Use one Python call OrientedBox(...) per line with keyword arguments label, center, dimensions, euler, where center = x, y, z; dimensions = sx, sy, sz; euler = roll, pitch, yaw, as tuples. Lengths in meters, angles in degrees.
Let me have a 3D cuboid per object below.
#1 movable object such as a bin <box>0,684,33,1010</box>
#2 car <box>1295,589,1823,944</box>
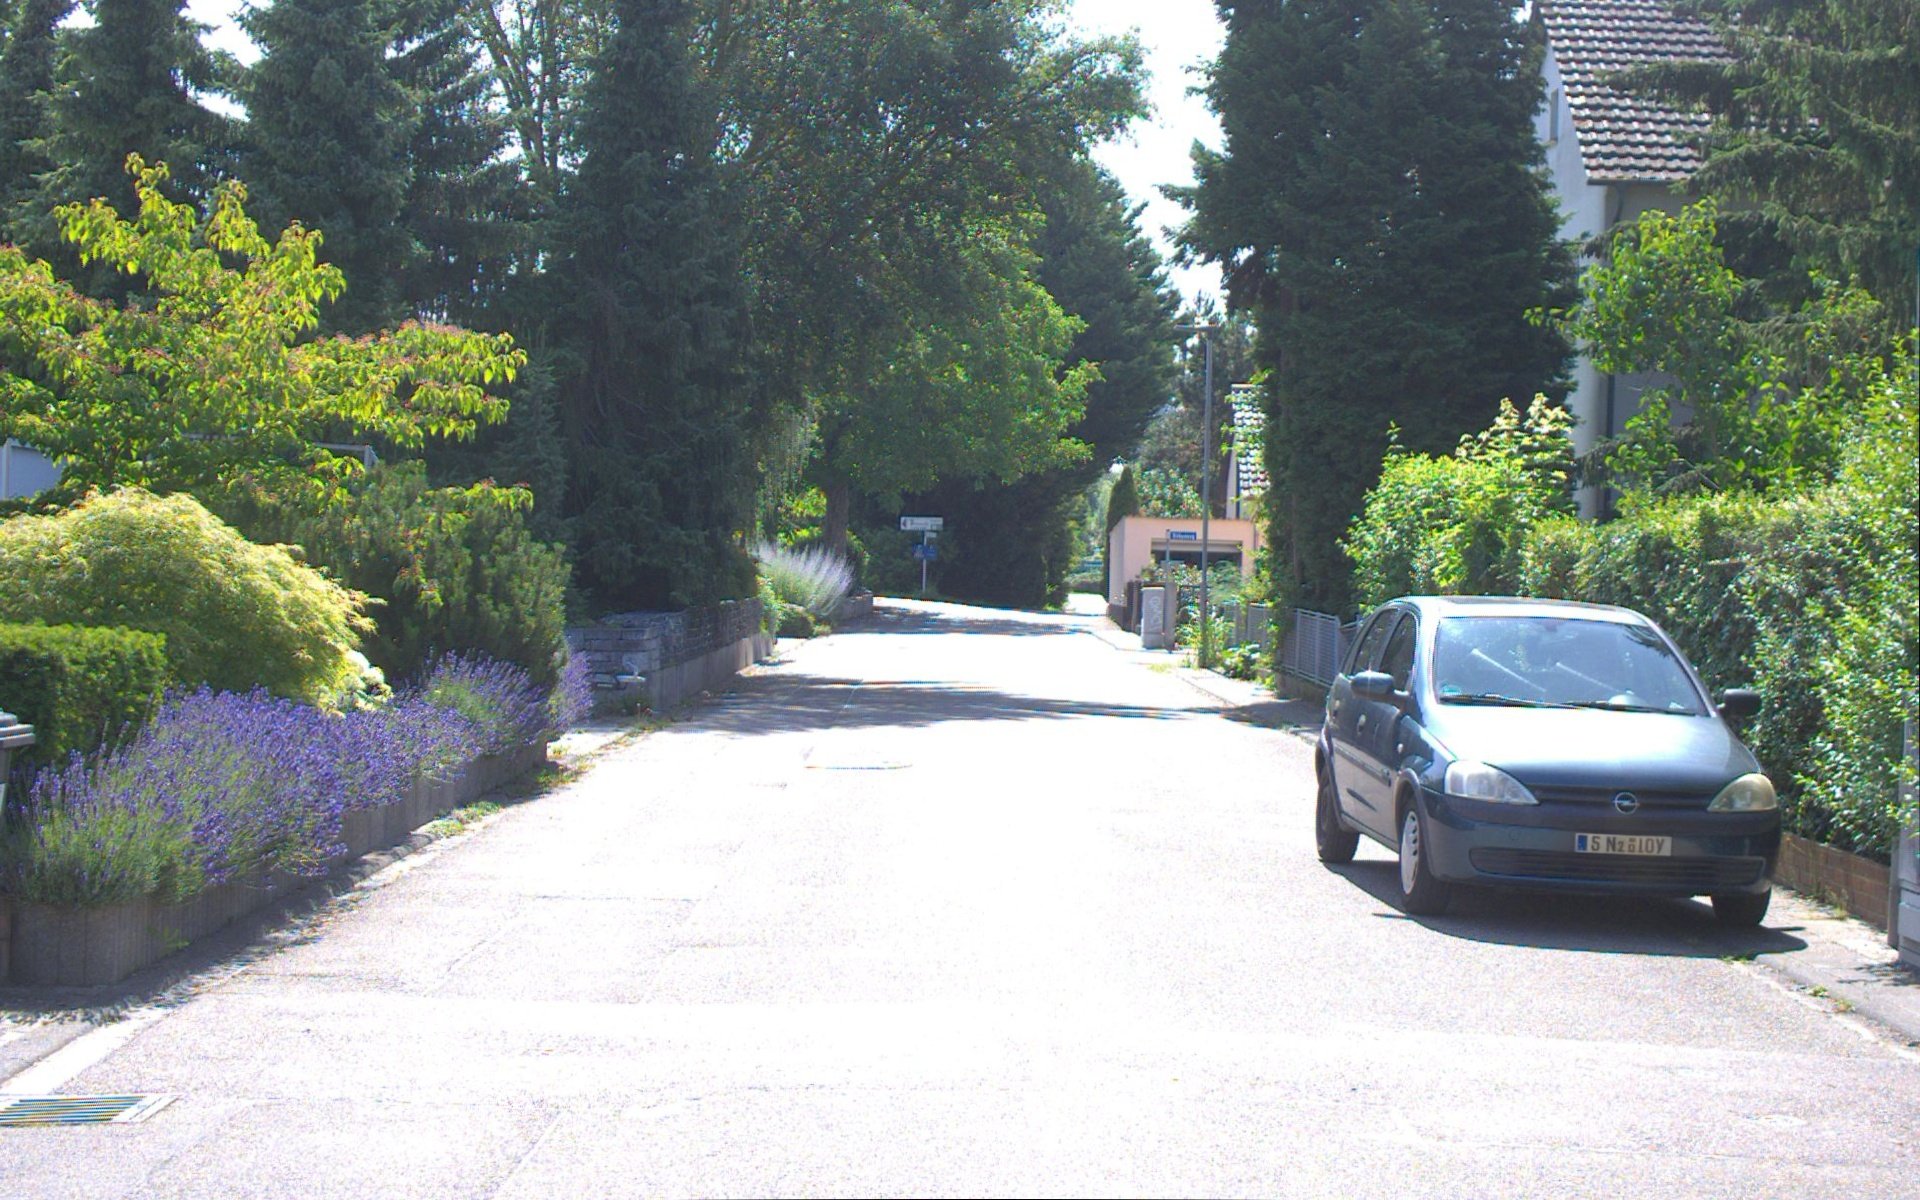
OrientedBox(label="movable object such as a bin", center=(-3.280, 0.784, 10.978), dimensions=(0.494, 1.021, 0.447), euler=(2, 1, 0))
OrientedBox(label="car", center=(2.738, 0.700, 16.583), dimensions=(1.702, 1.395, 4.000), euler=(3, 0, -1))
